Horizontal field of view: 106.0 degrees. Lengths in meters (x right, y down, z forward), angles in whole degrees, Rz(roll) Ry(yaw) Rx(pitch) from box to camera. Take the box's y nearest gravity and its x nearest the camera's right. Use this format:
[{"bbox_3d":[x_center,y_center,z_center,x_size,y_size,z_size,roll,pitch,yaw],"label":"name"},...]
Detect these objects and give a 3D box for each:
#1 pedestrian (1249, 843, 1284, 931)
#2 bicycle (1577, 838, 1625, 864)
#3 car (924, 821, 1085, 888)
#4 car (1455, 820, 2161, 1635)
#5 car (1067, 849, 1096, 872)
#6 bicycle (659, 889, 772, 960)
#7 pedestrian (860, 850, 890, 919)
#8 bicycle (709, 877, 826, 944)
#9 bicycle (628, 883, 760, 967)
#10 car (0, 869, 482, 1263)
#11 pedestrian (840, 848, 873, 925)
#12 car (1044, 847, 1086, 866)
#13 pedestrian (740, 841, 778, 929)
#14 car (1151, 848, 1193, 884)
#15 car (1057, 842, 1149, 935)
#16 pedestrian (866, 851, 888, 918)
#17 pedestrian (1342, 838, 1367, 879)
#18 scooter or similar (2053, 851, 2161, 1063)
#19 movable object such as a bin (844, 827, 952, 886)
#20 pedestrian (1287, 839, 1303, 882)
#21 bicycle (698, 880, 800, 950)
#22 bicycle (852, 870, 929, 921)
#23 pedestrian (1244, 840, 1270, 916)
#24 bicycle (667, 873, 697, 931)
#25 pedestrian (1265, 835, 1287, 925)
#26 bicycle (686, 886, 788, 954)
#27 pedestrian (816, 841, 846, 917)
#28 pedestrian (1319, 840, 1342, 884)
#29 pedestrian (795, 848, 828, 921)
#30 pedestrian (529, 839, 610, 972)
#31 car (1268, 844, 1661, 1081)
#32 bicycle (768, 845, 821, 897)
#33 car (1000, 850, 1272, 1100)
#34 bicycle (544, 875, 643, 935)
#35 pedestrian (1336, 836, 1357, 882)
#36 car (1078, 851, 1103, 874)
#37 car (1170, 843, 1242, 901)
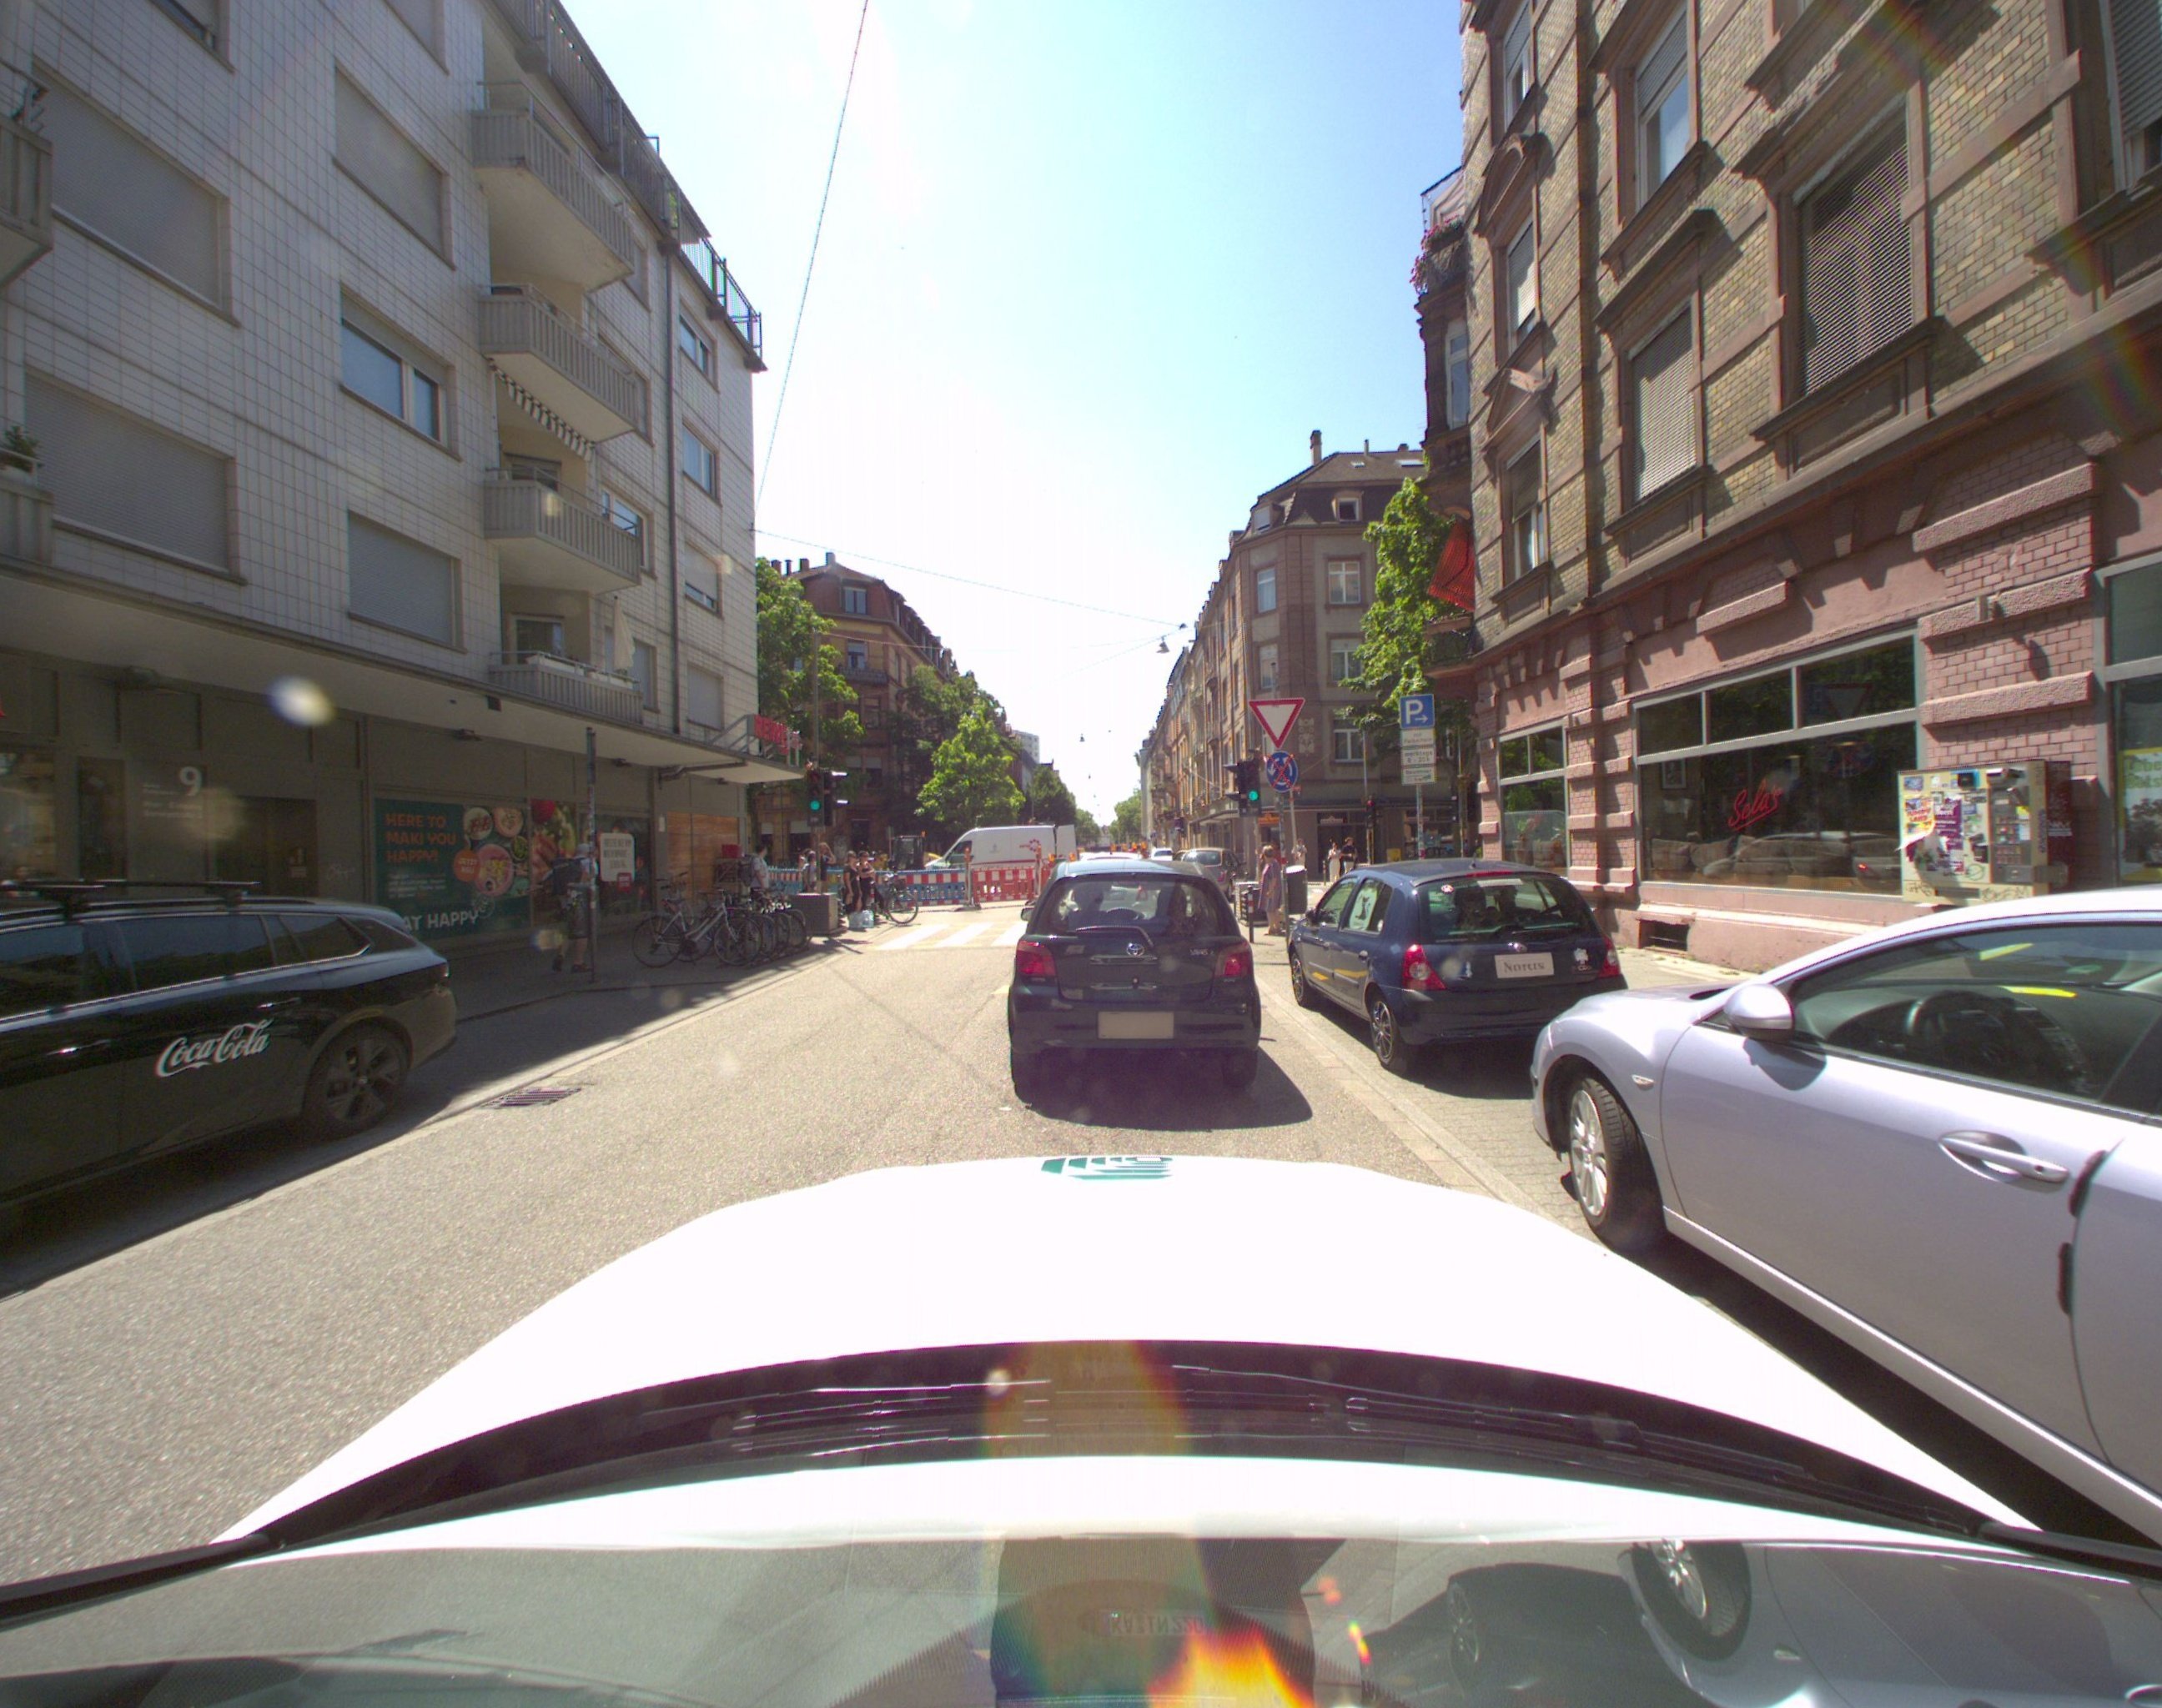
[{"bbox_3d":[3.345,0.593,14.740,0.490,1.543,0.437,-4,0,7],"label":"pedestrian"},{"bbox_3d":[21.686,-0.130,33.976,1.719,0.996,0.504,-2,2,-3],"label":"bicycle"},{"bbox_3d":[-3.206,0.017,35.188,6.594,2.751,2.381,0,0,2],"label":"car"},{"bbox_3d":[2.764,0.643,1.865,1.720,1.432,4.485,-3,0,0],"label":"car"},{"bbox_3d":[0.081,0.426,55.213,1.748,1.444,4.002,-2,0,2],"label":"car"},{"bbox_3d":[-5.476,1.052,12.239,1.490,1.030,0.397,1,0,-3],"label":"bicycle"},{"bbox_3d":[-4.788,0.698,18.915,0.491,1.565,0.462,1,1,28],"label":"pedestrian"},{"bbox_3d":[-5.453,0.986,14.251,1.794,1.123,0.577,1,0,-5],"label":"bicycle"},{"bbox_3d":[-5.476,0.997,11.574,1.580,1.139,0.526,1,0,-3],"label":"bicycle"},{"bbox_3d":[-5.173,0.886,3.553,1.663,1.525,4.466,0,0,2],"label":"car"},{"bbox_3d":[-4.892,0.697,17.748,0.539,1.633,0.511,-1,0,-1],"label":"pedestrian"},{"bbox_3d":[-1.904,0.293,97.022,4.581,2.187,1.983,-1,0,-26],"label":"car"},{"bbox_3d":[-6.622,0.628,16.756,0.507,1.770,0.599,-1,0,-1],"label":"pedestrian"},{"bbox_3d":[3.987,0.490,35.280,1.618,1.432,3.669,-3,0,8],"label":"car"},{"bbox_3d":[0.412,0.570,15.312,1.517,1.521,3.265,-2,0,1],"label":"car"},{"bbox_3d":[-4.999,0.732,19.941,0.388,1.618,0.475,-1,0,-1],"label":"pedestrian"},{"bbox_3d":[11.087,0.163,33.039,0.798,1.623,0.643,-2,0,2],"label":"pedestrian"},{"bbox_3d":[6.177,0.577,4.499,0.290,1.177,1.276,-1,0,11],"label":"scooter or similar"},{"bbox_3d":[-8.504,0.109,38.088,4.525,2.659,1.956,0,0,2],"label":"movable object such as a bin"},{"bbox_3d":[8.754,0.268,33.308,0.473,1.733,0.876,-2,-1,21],"label":"pedestrian"},{"bbox_3d":[-5.462,1.002,13.423,1.515,1.117,0.335,1,0,-3],"label":"bicycle"},{"bbox_3d":[-4.448,0.956,18.994,1.789,1.119,0.470,0,0,23],"label":"bicycle"},{"bbox_3d":[3.714,0.499,17.207,0.457,1.560,0.480,-2,0,8],"label":"pedestrian"},{"bbox_3d":[-8.144,0.960,16.646,0.321,1.086,1.424,-1,1,-17],"label":"bicycle"},{"bbox_3d":[3.695,0.485,15.474,0.330,1.675,0.402,-2,0,8],"label":"pedestrian"},{"bbox_3d":[-5.439,1.036,12.916,1.444,1.036,0.335,1,0,-3],"label":"bicycle"},{"bbox_3d":[-6.069,0.598,19.794,0.507,1.820,0.599,-1,0,-1],"label":"pedestrian"},{"bbox_3d":[9.691,0.321,31.659,0.701,1.645,0.422,-4,3,-7],"label":"pedestrian"},{"bbox_3d":[-6.171,0.694,18.654,0.507,1.633,0.599,-1,0,-1],"label":"pedestrian"},{"bbox_3d":[-6.853,0.670,10.935,0.628,1.726,0.658,-2,0,2],"label":"pedestrian"},{"bbox_3d":[2.861,0.689,7.011,1.622,1.432,3.660,-3,0,0],"label":"car"},{"bbox_3d":[-7.364,0.415,21.019,0.533,1.247,2.013,-2,0,2],"label":"bicycle"},{"bbox_3d":[0.390,0.725,6.500,1.607,1.485,3.242,-1,0,2],"label":"car"},{"bbox_3d":[-9.350,0.968,15.648,1.572,1.072,0.341,-2,0,-16],"label":"bicycle"},{"bbox_3d":[10.384,0.193,31.851,0.574,1.768,0.470,-4,3,-7],"label":"pedestrian"},{"bbox_3d":[0.795,0.654,64.689,1.748,1.645,4.380,-4,0,2],"label":"car"},{"bbox_3d":[3.827,0.487,24.491,1.510,1.592,3.280,-1,0,20],"label":"car"}]
